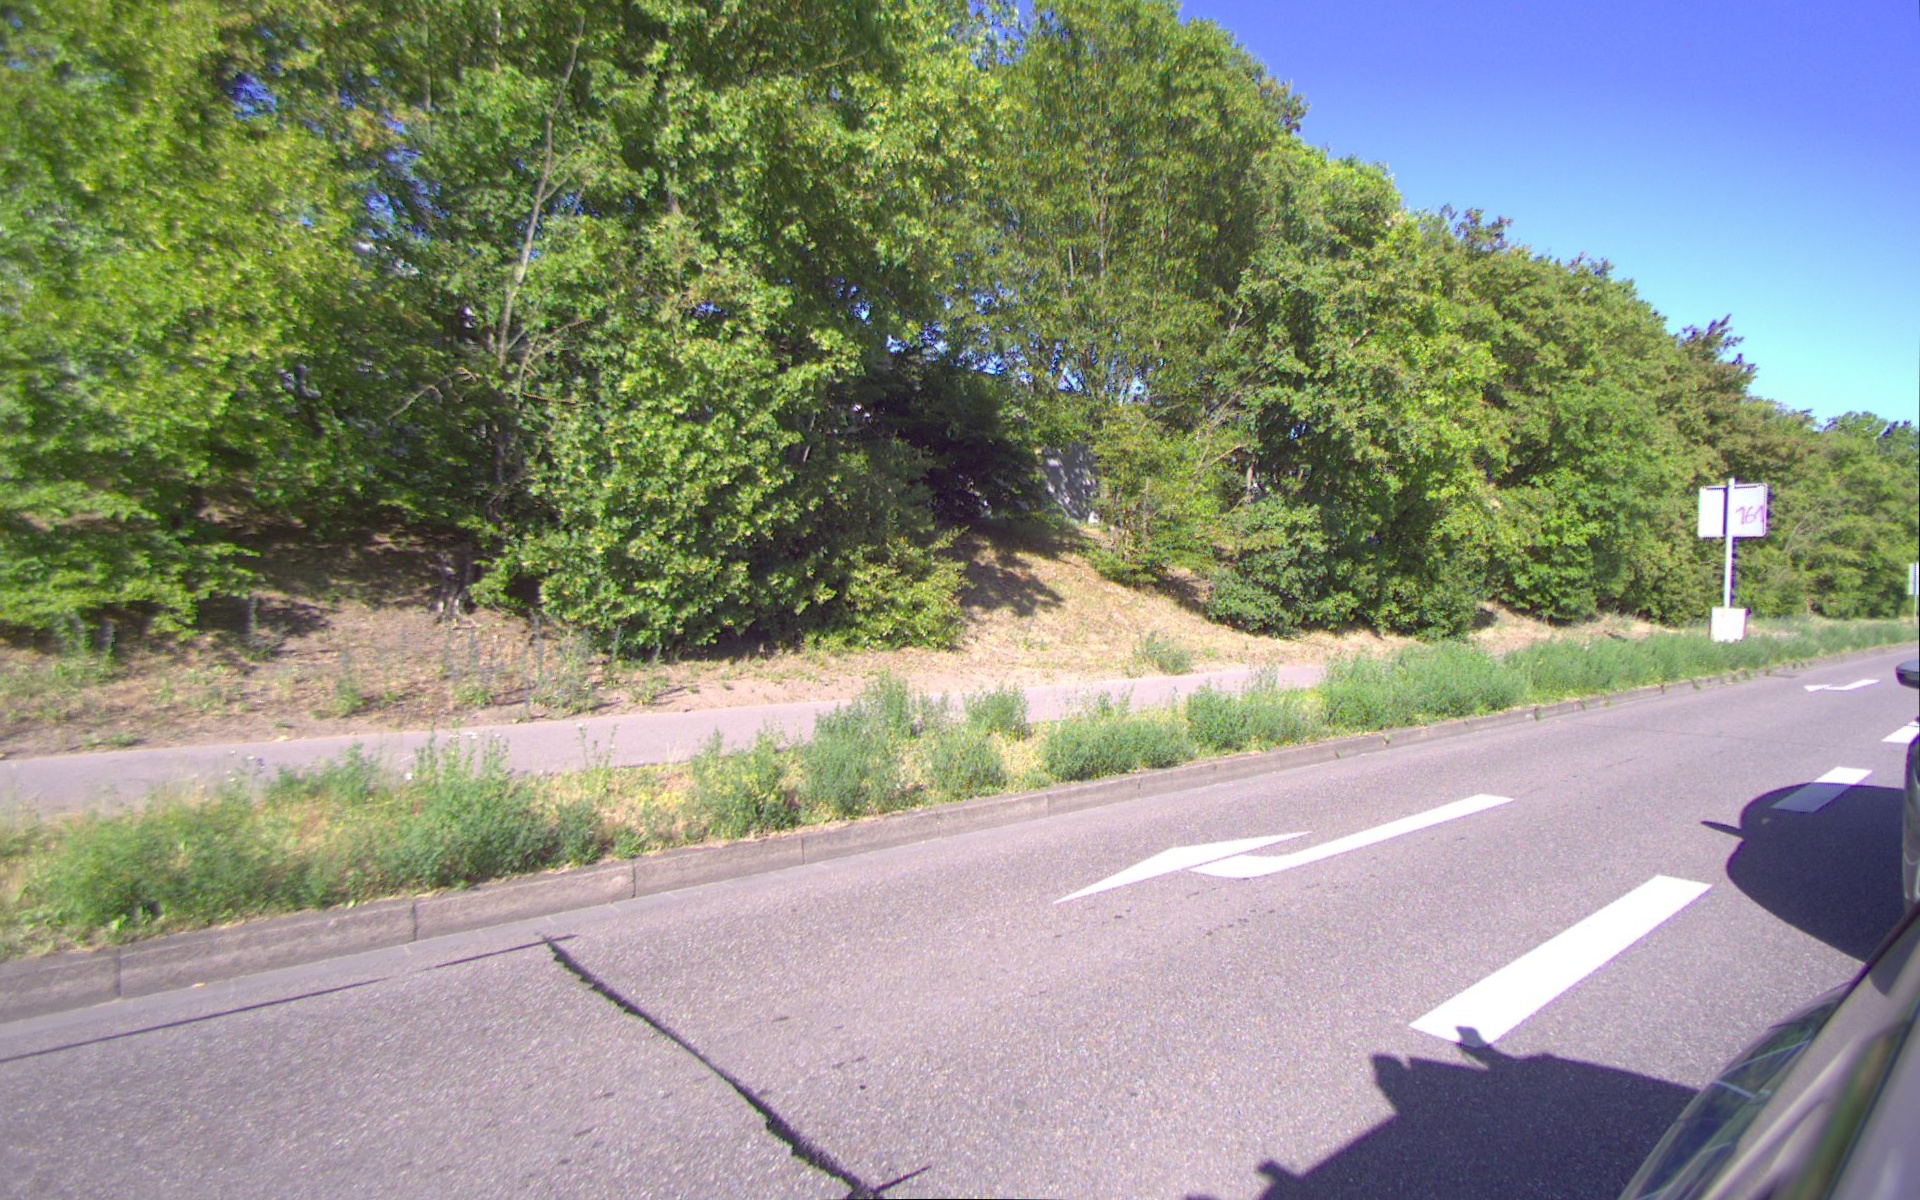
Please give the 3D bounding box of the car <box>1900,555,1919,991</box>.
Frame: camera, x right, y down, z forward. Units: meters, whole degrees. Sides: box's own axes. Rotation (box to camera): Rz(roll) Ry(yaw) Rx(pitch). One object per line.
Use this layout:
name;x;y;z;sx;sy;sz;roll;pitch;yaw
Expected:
car;5.587;0.656;4.347;3.863;1.617;1.869;0;0;-41
